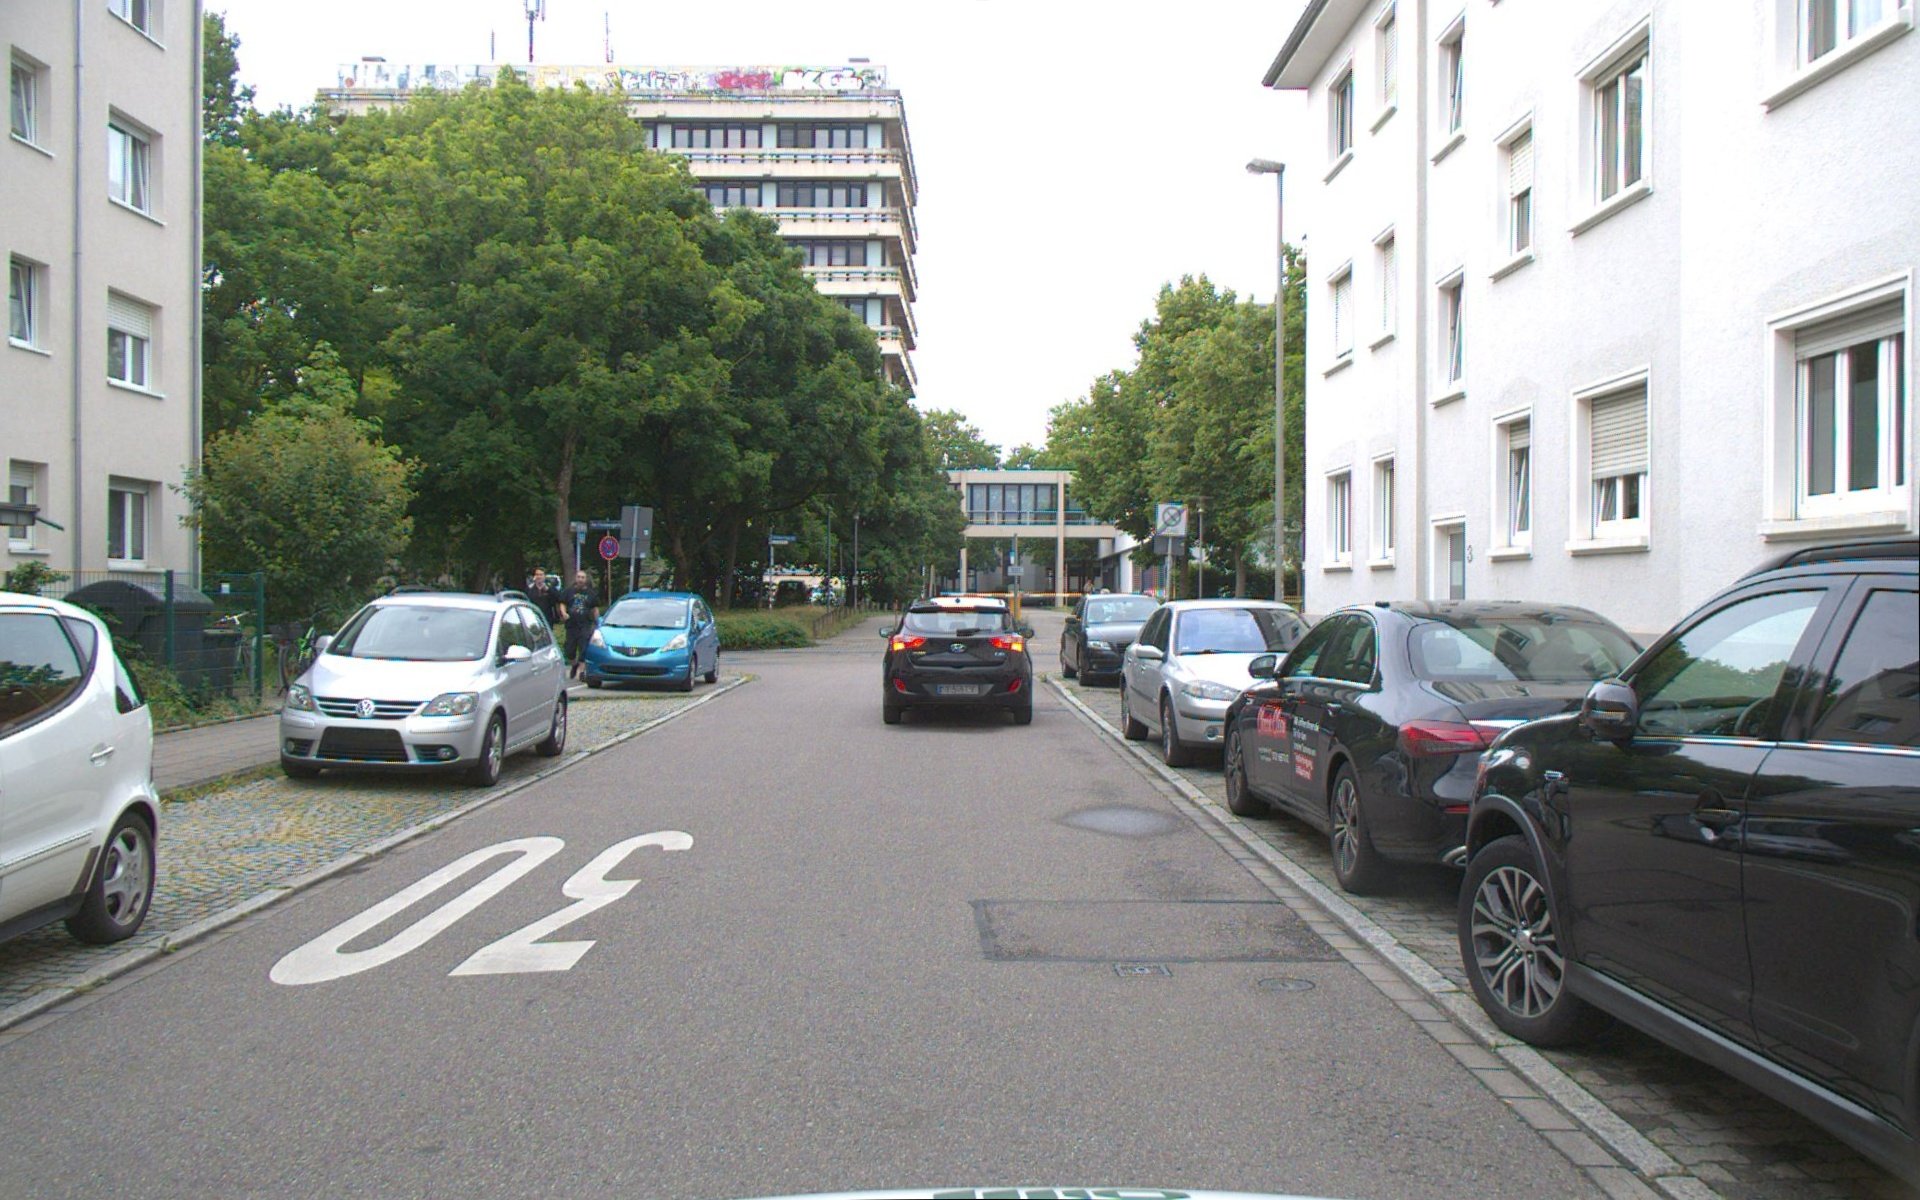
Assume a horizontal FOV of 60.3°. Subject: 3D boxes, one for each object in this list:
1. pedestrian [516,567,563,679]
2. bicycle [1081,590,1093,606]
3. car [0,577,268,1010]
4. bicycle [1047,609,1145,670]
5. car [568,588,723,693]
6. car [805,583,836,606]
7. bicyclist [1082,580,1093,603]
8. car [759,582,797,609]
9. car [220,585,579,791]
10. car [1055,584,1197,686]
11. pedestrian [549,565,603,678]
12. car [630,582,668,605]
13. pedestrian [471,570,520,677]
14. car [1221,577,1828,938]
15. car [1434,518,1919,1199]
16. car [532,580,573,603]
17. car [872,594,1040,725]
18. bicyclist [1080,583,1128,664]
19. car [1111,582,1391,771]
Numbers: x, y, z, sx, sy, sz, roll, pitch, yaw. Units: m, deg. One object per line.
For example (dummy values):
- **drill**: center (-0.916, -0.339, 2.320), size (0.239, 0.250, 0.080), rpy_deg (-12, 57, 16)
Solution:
- **pedestrian**: center (-7.087, 0.374, 27.914), size (0.592, 1.863, 0.675), rpy_deg (1, 0, 1)
- **bicycle**: center (8.309, -0.134, 108.057), size (0.679, 1.014, 1.735), rpy_deg (1, 0, 0)
- **car**: center (-4.597, 0.722, 6.554), size (1.857, 1.626, 4.519), rpy_deg (3, 0, -2)
- **bicycle**: center (2.694, 0.783, 32.974), size (1.888, 1.183, 0.692), rpy_deg (1, 0, 0)
- **car**: center (-5.087, 0.607, 27.256), size (1.954, 1.568, 3.998), rpy_deg (1, 0, -3)
- **car**: center (-8.325, -0.342, 98.804), size (1.632, 1.356, 3.395), rpy_deg (1, 1, -1)
- **bicyclist**: center (8.315, -0.552, 108.116), size (0.679, 1.469, 0.795), rpy_deg (1, 0, 1)
- **car**: center (-9.358, -0.238, 85.351), size (1.632, 1.356, 3.395), rpy_deg (1, 1, -1)
- **car**: center (-4.826, 0.681, 14.888), size (1.953, 1.568, 3.998), rpy_deg (1, 0, -2)
- **car**: center (2.664, 0.524, 27.517), size (1.783, 1.546, 4.672), rpy_deg (0, 0, -1)
- **pedestrian**: center (-6.446, 0.357, 27.780), size (0.699, 1.863, 0.797), rpy_deg (1, 0, 1)
- **car**: center (-18.567, -0.388, 98.766), size (1.632, 1.356, 3.395), rpy_deg (1, 1, -1)
- **pedestrian**: center (-7.643, 0.376, 27.221), size (0.588, 1.743, 0.648), rpy_deg (1, 0, 1)
- **car**: center (2.802, 0.666, 9.452), size (1.783, 1.546, 4.672), rpy_deg (0, 0, -1)
- **car**: center (2.821, 0.645, 4.284), size (1.784, 1.631, 4.088), rpy_deg (0, 0, -4)
- **car**: center (-24.375, -0.512, 99.015), size (1.632, 1.356, 3.395), rpy_deg (1, 1, -1)
- **car**: center (-0.048, 0.661, 20.538), size (1.864, 1.458, 4.232), rpy_deg (0, 0, 0)
- **bicyclist**: center (2.860, 0.458, 32.971), size (0.881, 1.579, 0.693), rpy_deg (1, 0, 0)
- **car**: center (2.606, 0.621, 15.931), size (1.783, 1.546, 4.672), rpy_deg (0, 0, -1)
